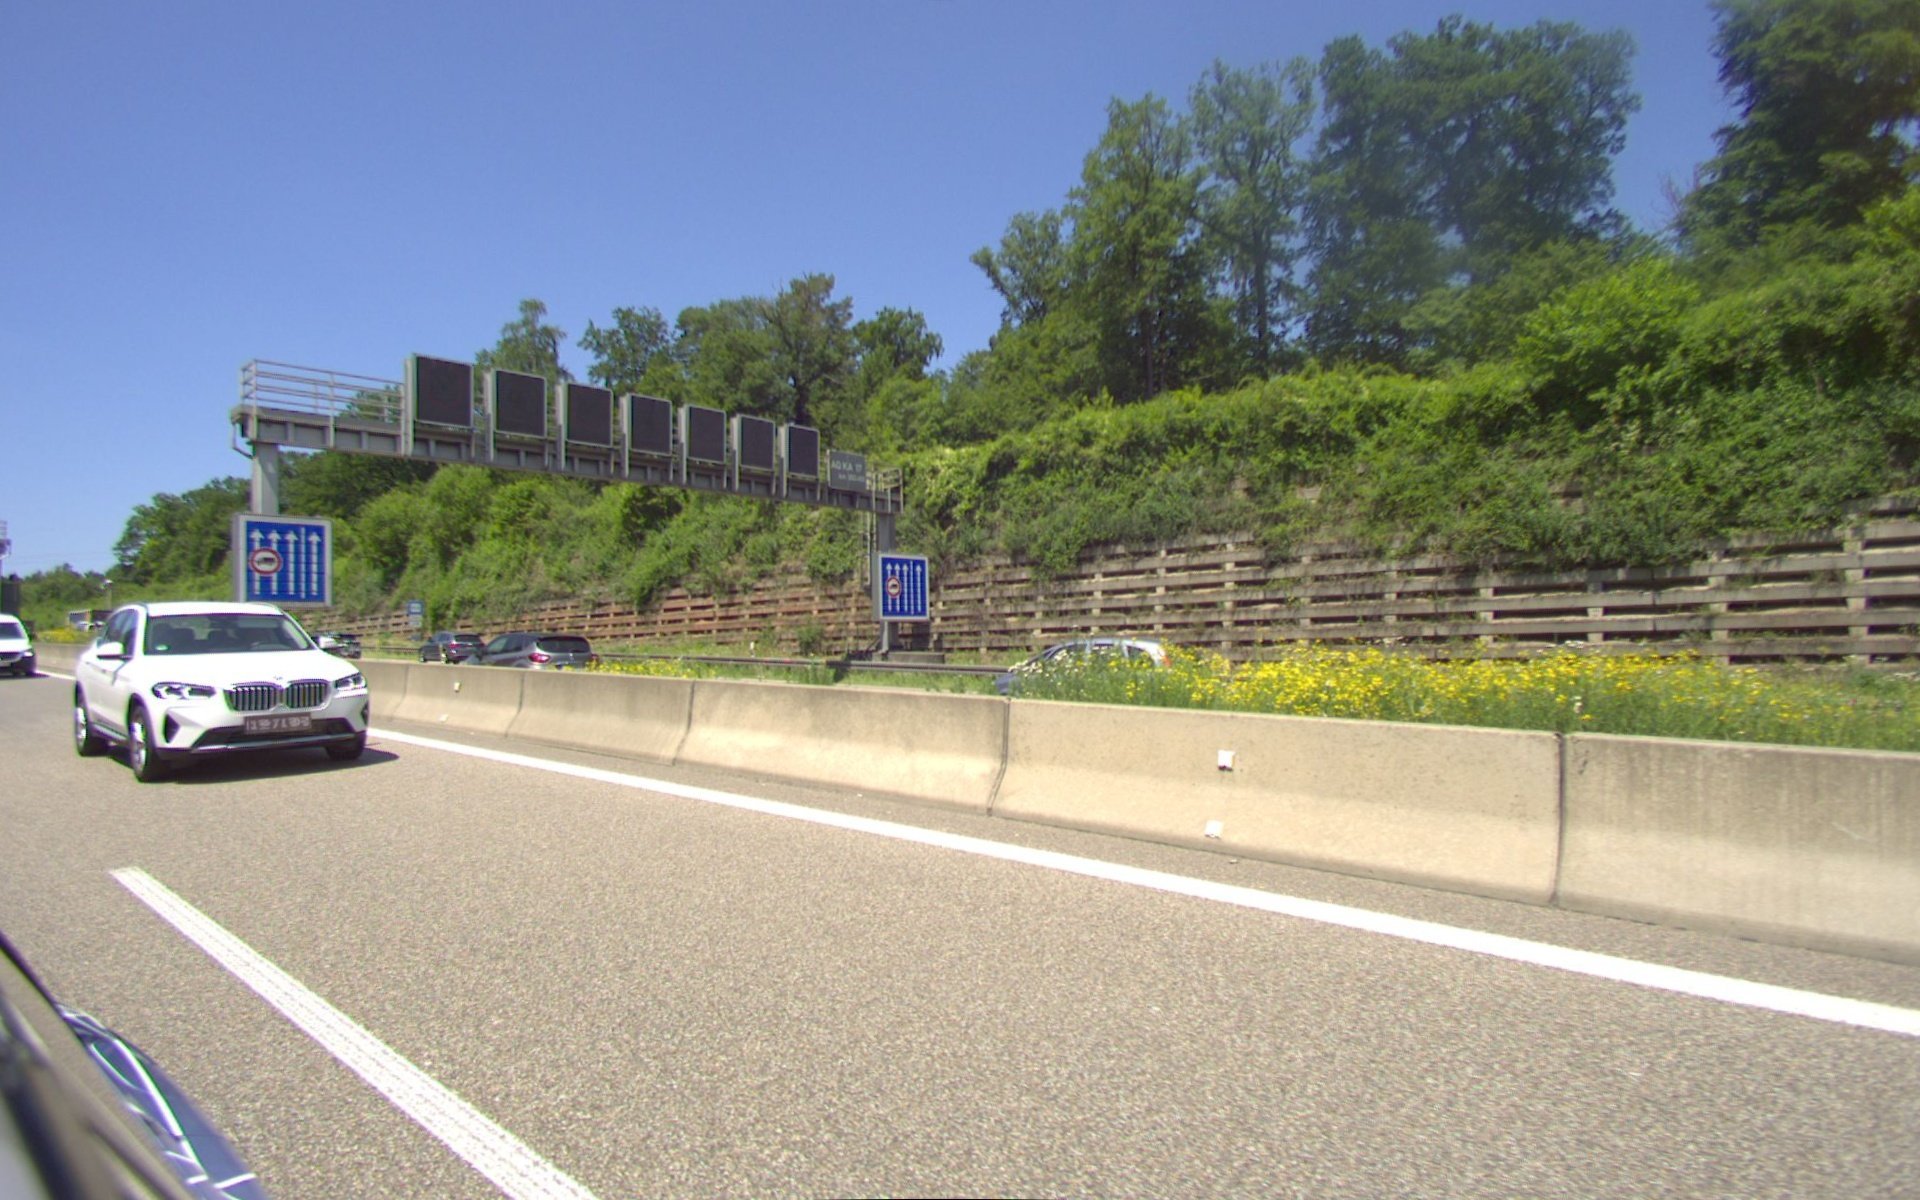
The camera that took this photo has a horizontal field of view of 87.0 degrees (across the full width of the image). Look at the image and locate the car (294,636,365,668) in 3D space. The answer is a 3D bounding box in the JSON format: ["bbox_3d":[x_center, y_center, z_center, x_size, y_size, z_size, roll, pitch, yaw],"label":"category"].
[{"bbox_3d":[-31.952,2.623,51.244,4.371,1.537,1.878,-2,-3,42],"label":"car"}]

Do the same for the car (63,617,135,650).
[{"bbox_3d":[-46.579,1.854,54.685,5.990,1.700,1.977,-2,-3,40],"label":"car"}]

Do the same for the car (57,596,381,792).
[{"bbox_3d":[-7.993,0.865,10.758,4.365,1.656,1.826,-2,-1,41],"label":"car"}]

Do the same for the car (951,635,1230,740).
[{"bbox_3d":[2.092,1.376,17.068,4.371,1.537,1.878,-2,-3,42],"label":"car"}]

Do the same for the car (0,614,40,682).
[{"bbox_3d":[-27.536,1.372,28.481,4.500,1.788,1.972,-2,0,42],"label":"car"}]

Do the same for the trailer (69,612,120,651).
[{"bbox_3d":[-100.209,3.657,116.999,14.467,4.239,2.945,-2,-4,44],"label":"trailer"}]

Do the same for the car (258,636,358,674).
[{"bbox_3d":[-27.840,2.313,43.127,5.882,1.506,1.941,-2,-3,40],"label":"car"}]

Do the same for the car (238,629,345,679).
[{"bbox_3d":[-22.108,1.765,33.405,4.371,1.537,1.878,-2,-3,42],"label":"car"}]

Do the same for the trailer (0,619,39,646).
[{"bbox_3d":[-149.719,5.210,160.964,13.986,4.132,2.947,-2,-4,41],"label":"trailer"}]

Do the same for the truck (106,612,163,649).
[{"bbox_3d":[-70.805,2.674,86.749,7.057,3.015,2.552,-2,-3,41],"label":"truck"}]

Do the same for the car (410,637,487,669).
[{"bbox_3d":[-25.455,2.624,50.291,4.475,1.506,1.878,-2,-3,42],"label":"car"}]

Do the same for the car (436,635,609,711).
[{"bbox_3d":[-9.822,1.558,22.582,4.371,1.537,1.878,-2,-3,42],"label":"car"}]
